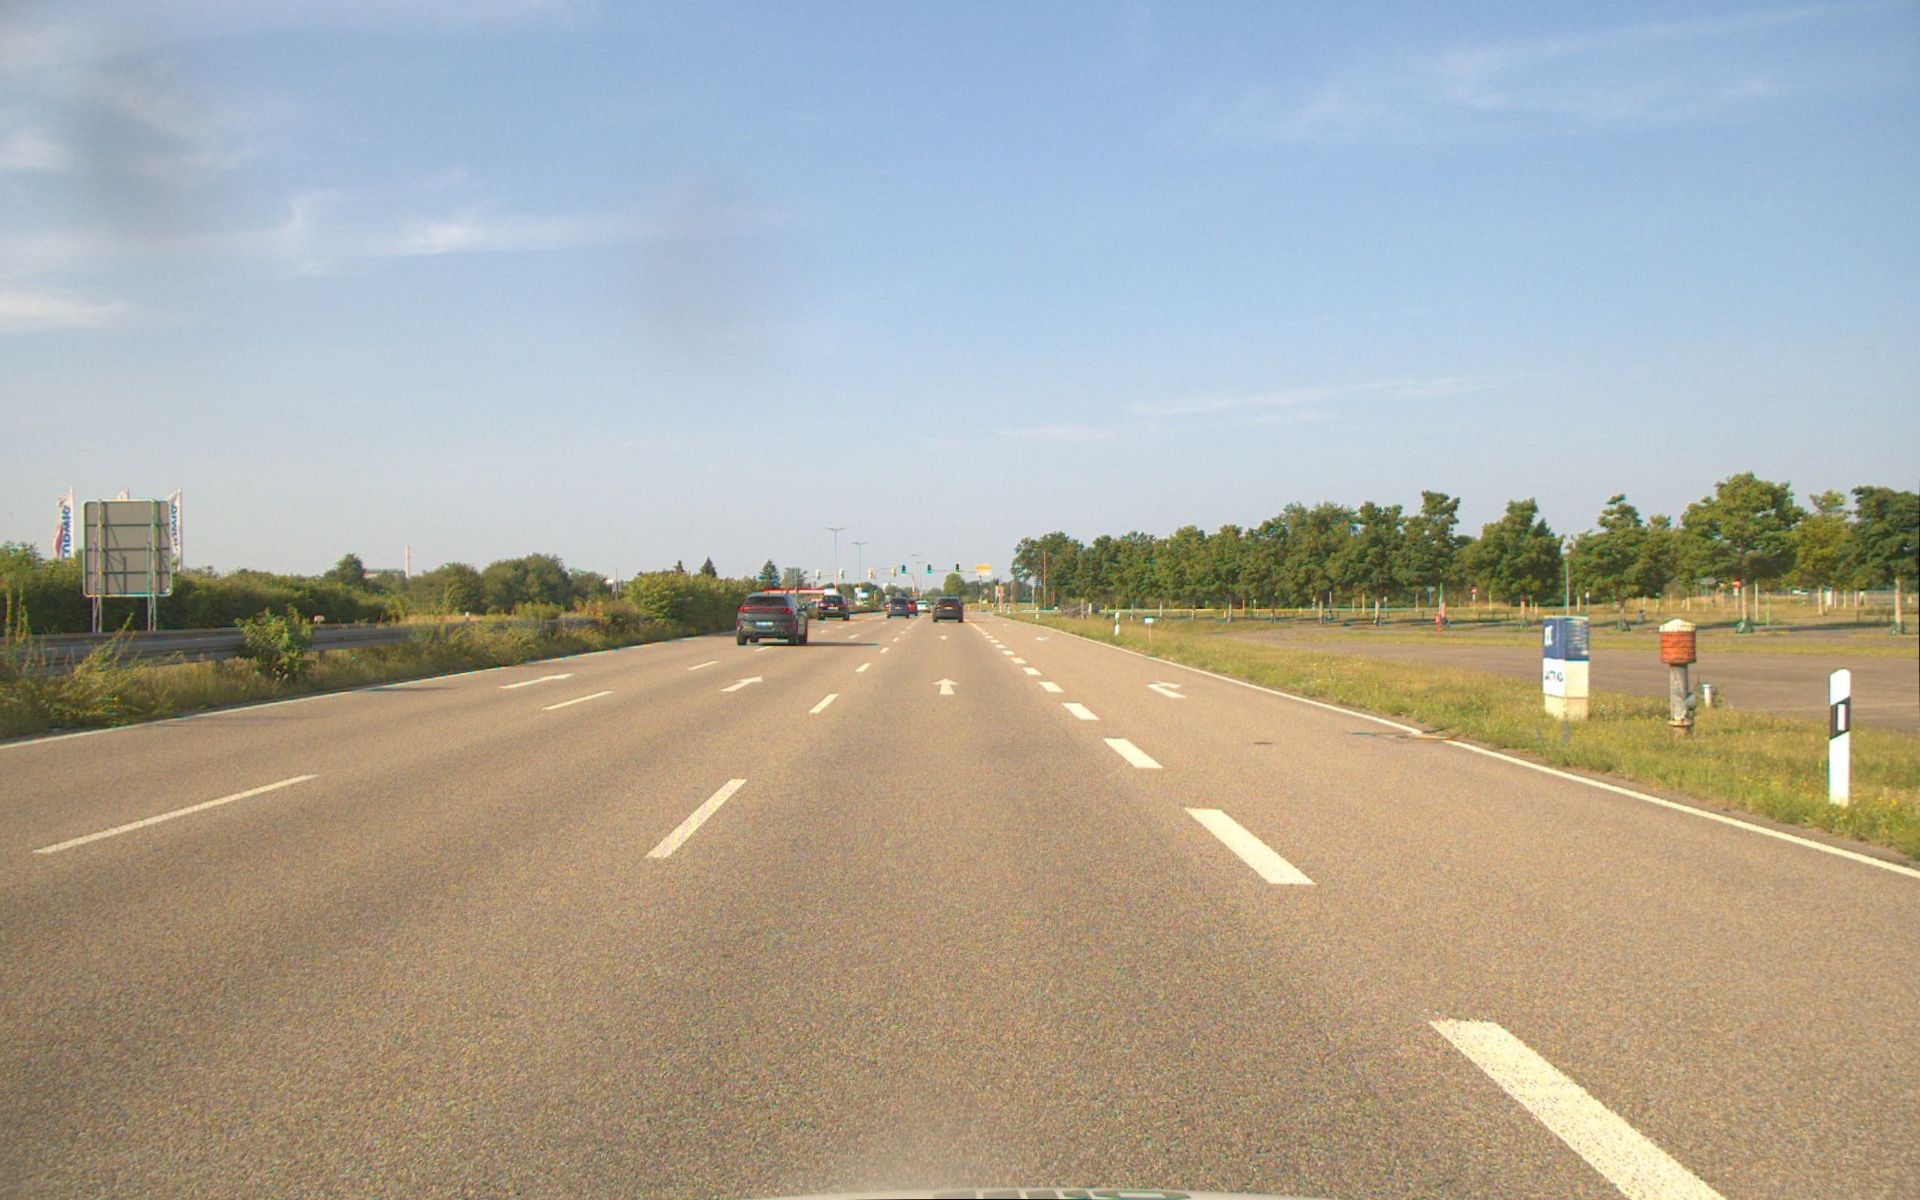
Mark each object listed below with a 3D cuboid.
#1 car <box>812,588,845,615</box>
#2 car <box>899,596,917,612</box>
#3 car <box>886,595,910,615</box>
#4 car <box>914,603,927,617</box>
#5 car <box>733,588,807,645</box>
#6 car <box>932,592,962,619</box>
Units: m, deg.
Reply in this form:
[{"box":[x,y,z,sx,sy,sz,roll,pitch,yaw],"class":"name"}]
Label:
[{"box":[-8.656,0.109,109.209,1.893,1.709,4.400,2,0,-1],"class":"car"},{"box":[-5.008,0.371,160.064,1.614,1.489,3.980,2,0,-1],"class":"car"},{"box":[-4.955,0.395,133.025,1.776,1.489,4.400,2,0,-1],"class":"car"},{"box":[-4.869,1.224,203.173,1.612,1.758,3.400,1,-1,-1],"class":"car"},{"box":[-5.823,0.475,51.105,1.808,1.640,4.400,2,0,-1],"class":"car"},{"box":[-0.848,0.354,107.652,1.893,1.709,4.400,2,0,-1],"class":"car"}]
